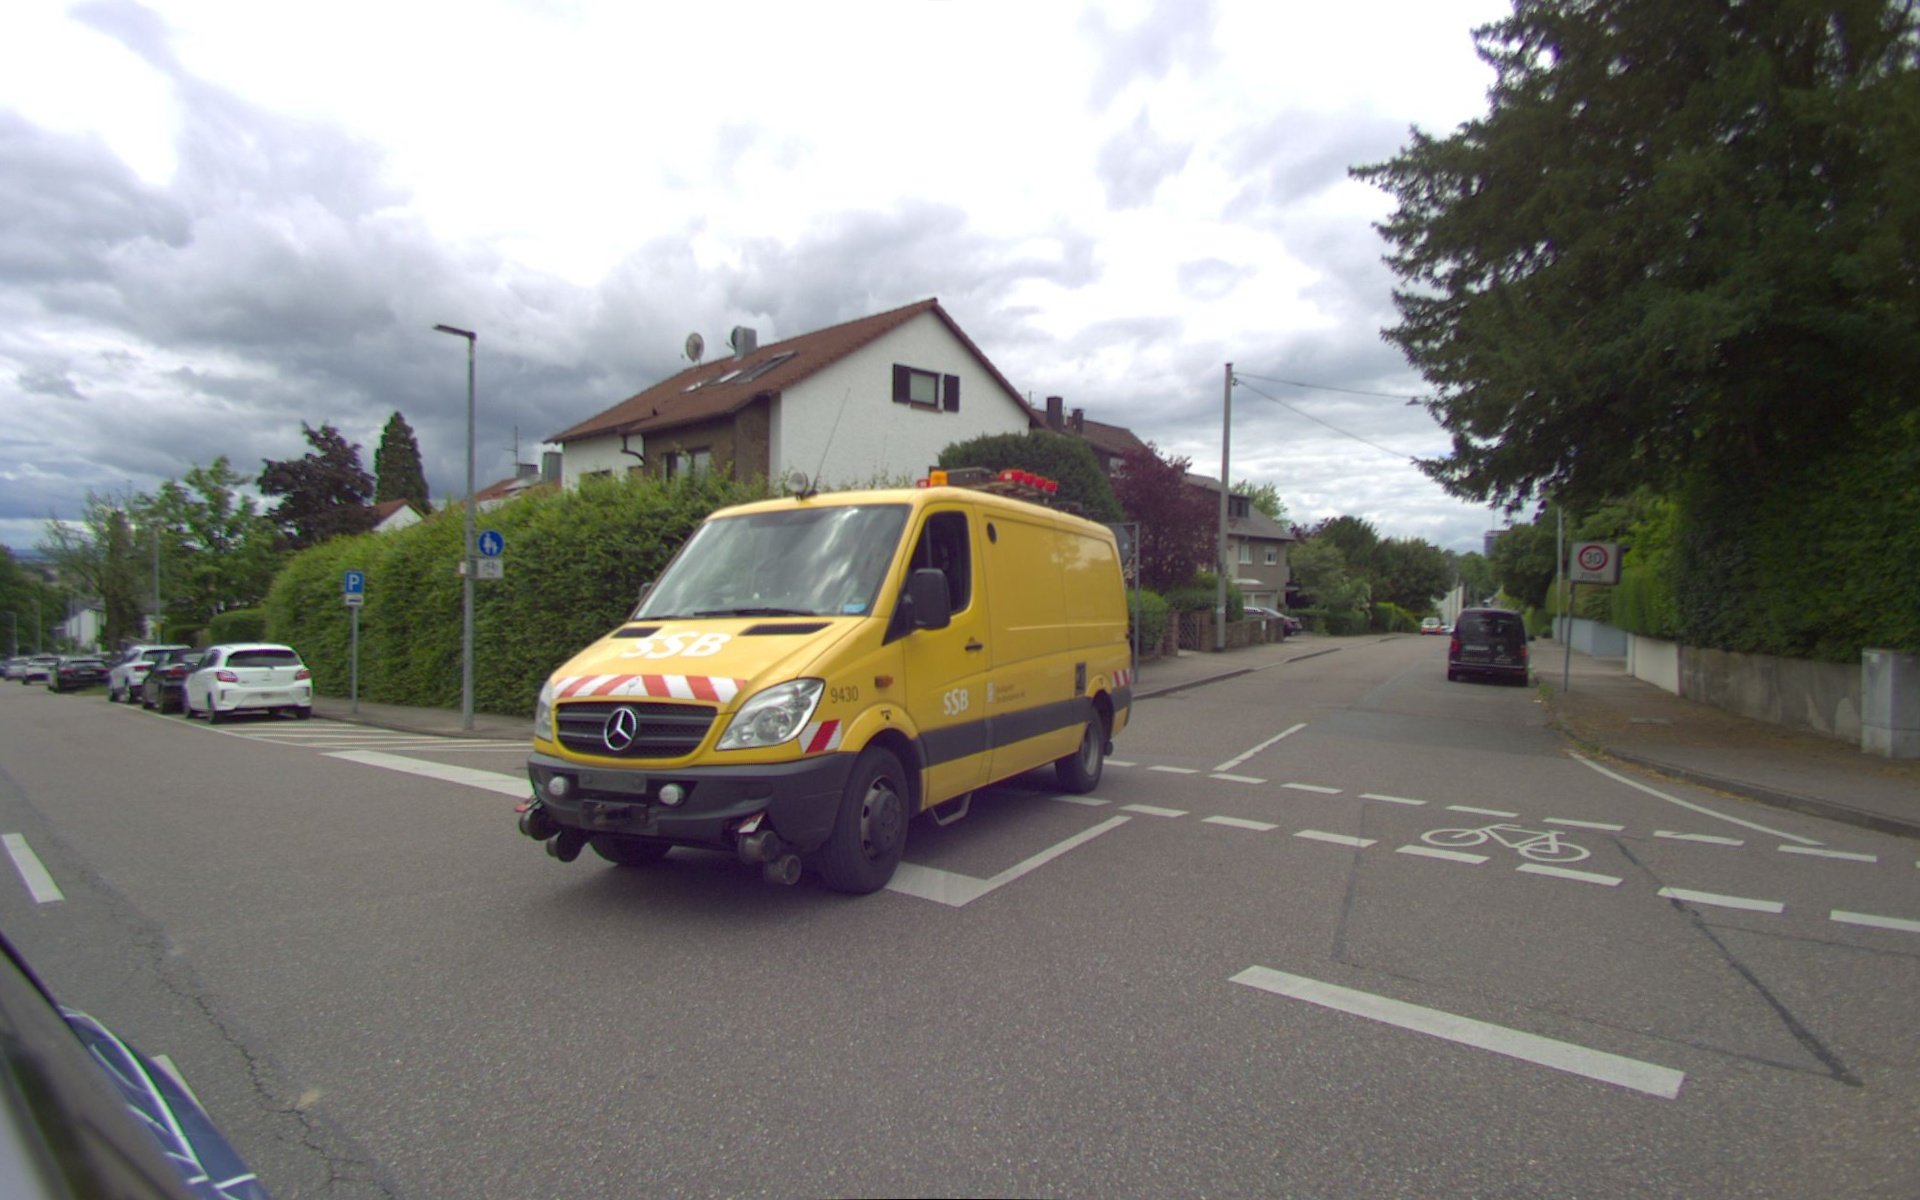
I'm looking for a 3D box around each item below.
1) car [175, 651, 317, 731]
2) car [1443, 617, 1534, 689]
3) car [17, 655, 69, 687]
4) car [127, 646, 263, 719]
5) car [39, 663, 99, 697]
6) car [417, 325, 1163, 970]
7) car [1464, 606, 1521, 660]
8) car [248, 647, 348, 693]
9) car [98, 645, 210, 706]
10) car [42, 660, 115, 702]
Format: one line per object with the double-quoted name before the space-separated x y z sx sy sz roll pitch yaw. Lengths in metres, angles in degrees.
"car" -14.176 1.753 20.041 3.581 1.430 1.670 -4 -5 45
"car" 13.212 1.303 25.465 1.816 1.637 4.046 -2 -3 26
"car" -52.321 4.025 57.716 4.001 1.541 1.909 -2 1 44
"car" -17.699 1.844 23.329 4.740 1.501 1.762 -3 -5 44
"car" -39.536 3.521 44.876 4.001 1.386 1.701 -4 -3 44
"car" -0.420 0.286 7.392 2.354 2.621 6.092 -3 -2 24
"car" 22.873 1.381 43.399 1.883 2.028 3.958 -3 0 31
"car" -23.973 2.508 36.689 2.846 1.517 1.501 0 -2 -42
"car" -22.108 2.035 27.693 4.343 1.501 1.865 -4 -3 44
"car" -35.988 3.279 41.290 4.007 1.561 1.918 -4 -3 44
